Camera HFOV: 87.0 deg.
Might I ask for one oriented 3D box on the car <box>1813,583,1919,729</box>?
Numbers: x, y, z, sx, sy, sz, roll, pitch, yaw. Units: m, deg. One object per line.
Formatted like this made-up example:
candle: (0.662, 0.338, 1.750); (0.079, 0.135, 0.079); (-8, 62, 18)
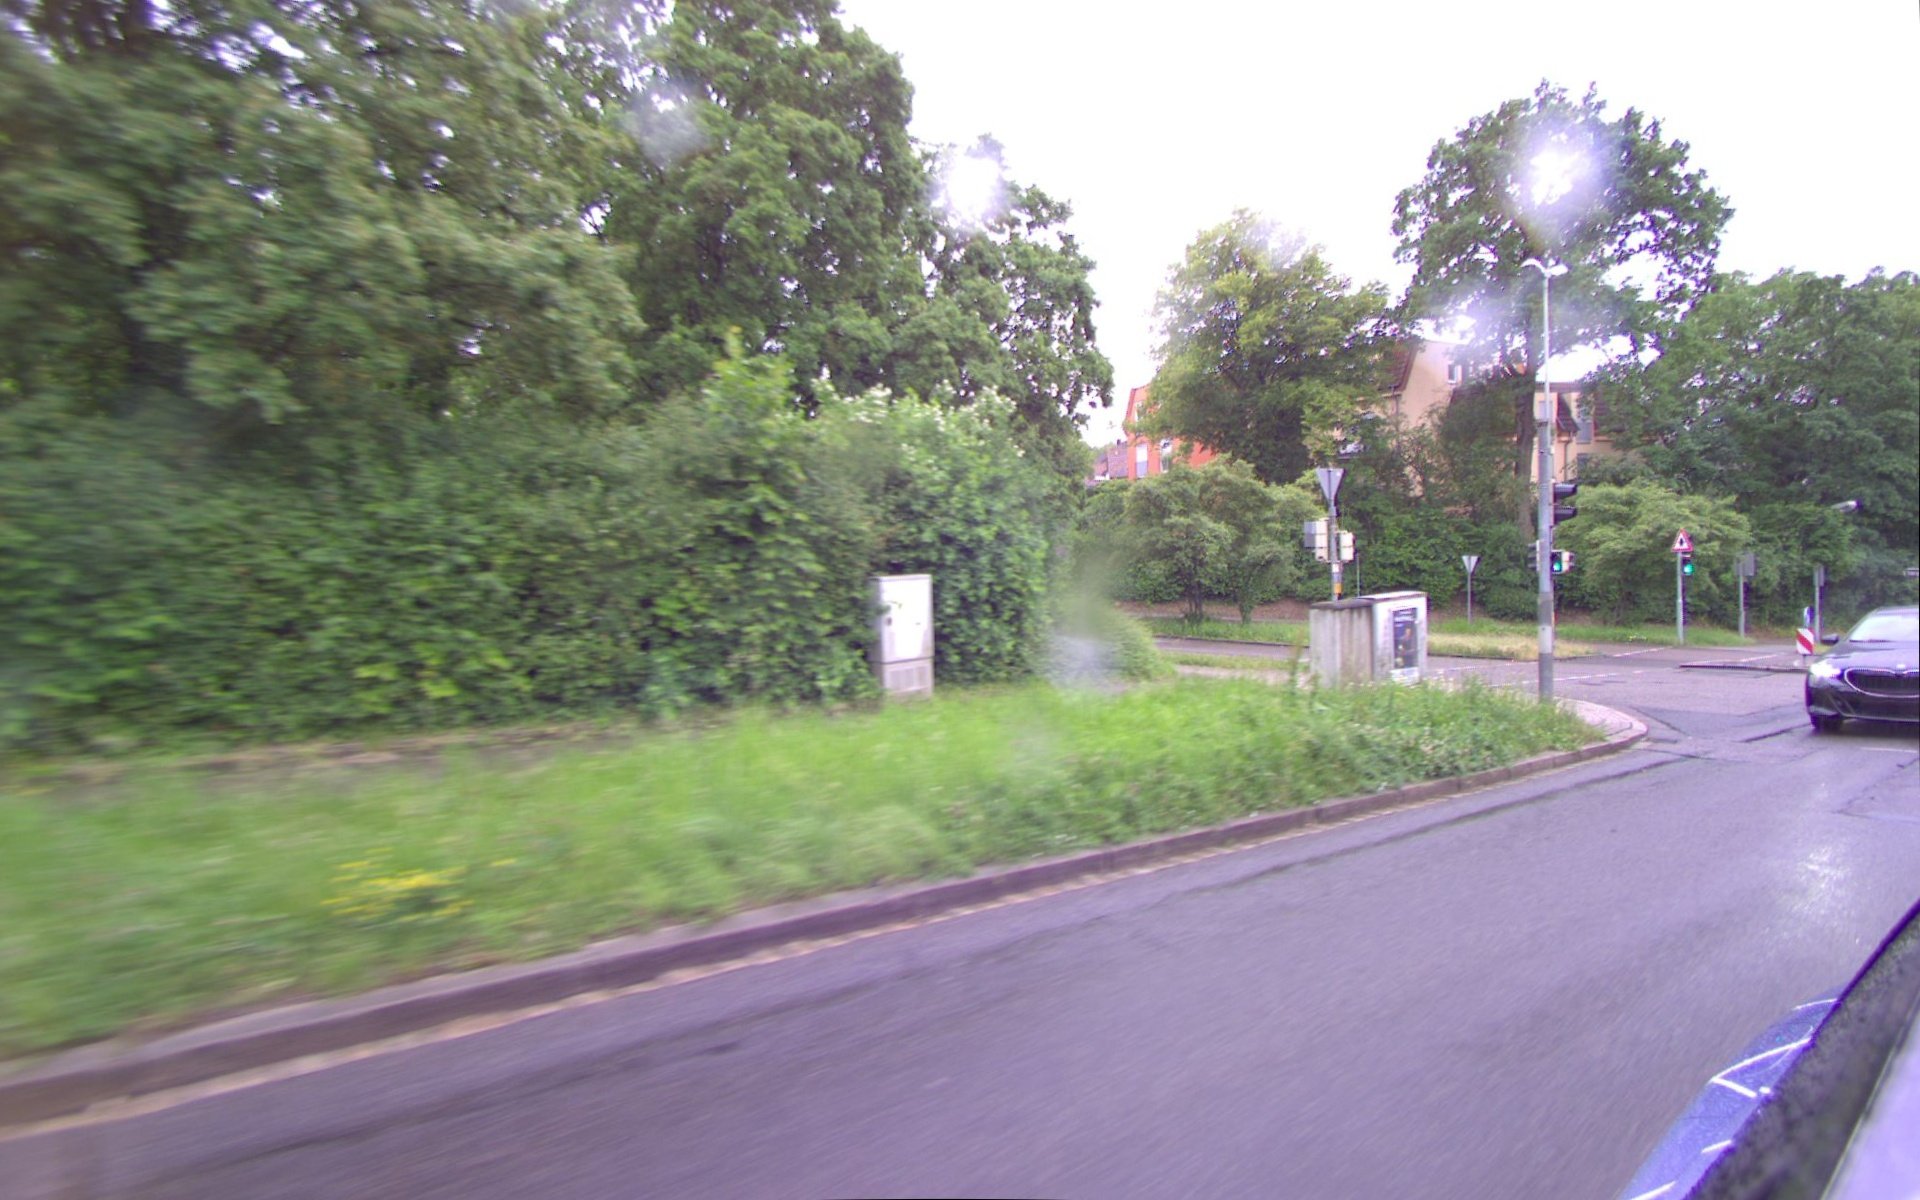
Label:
car: (12.108, 0.607, 12.215); (4.043, 1.575, 1.869); (-1, 2, -36)
